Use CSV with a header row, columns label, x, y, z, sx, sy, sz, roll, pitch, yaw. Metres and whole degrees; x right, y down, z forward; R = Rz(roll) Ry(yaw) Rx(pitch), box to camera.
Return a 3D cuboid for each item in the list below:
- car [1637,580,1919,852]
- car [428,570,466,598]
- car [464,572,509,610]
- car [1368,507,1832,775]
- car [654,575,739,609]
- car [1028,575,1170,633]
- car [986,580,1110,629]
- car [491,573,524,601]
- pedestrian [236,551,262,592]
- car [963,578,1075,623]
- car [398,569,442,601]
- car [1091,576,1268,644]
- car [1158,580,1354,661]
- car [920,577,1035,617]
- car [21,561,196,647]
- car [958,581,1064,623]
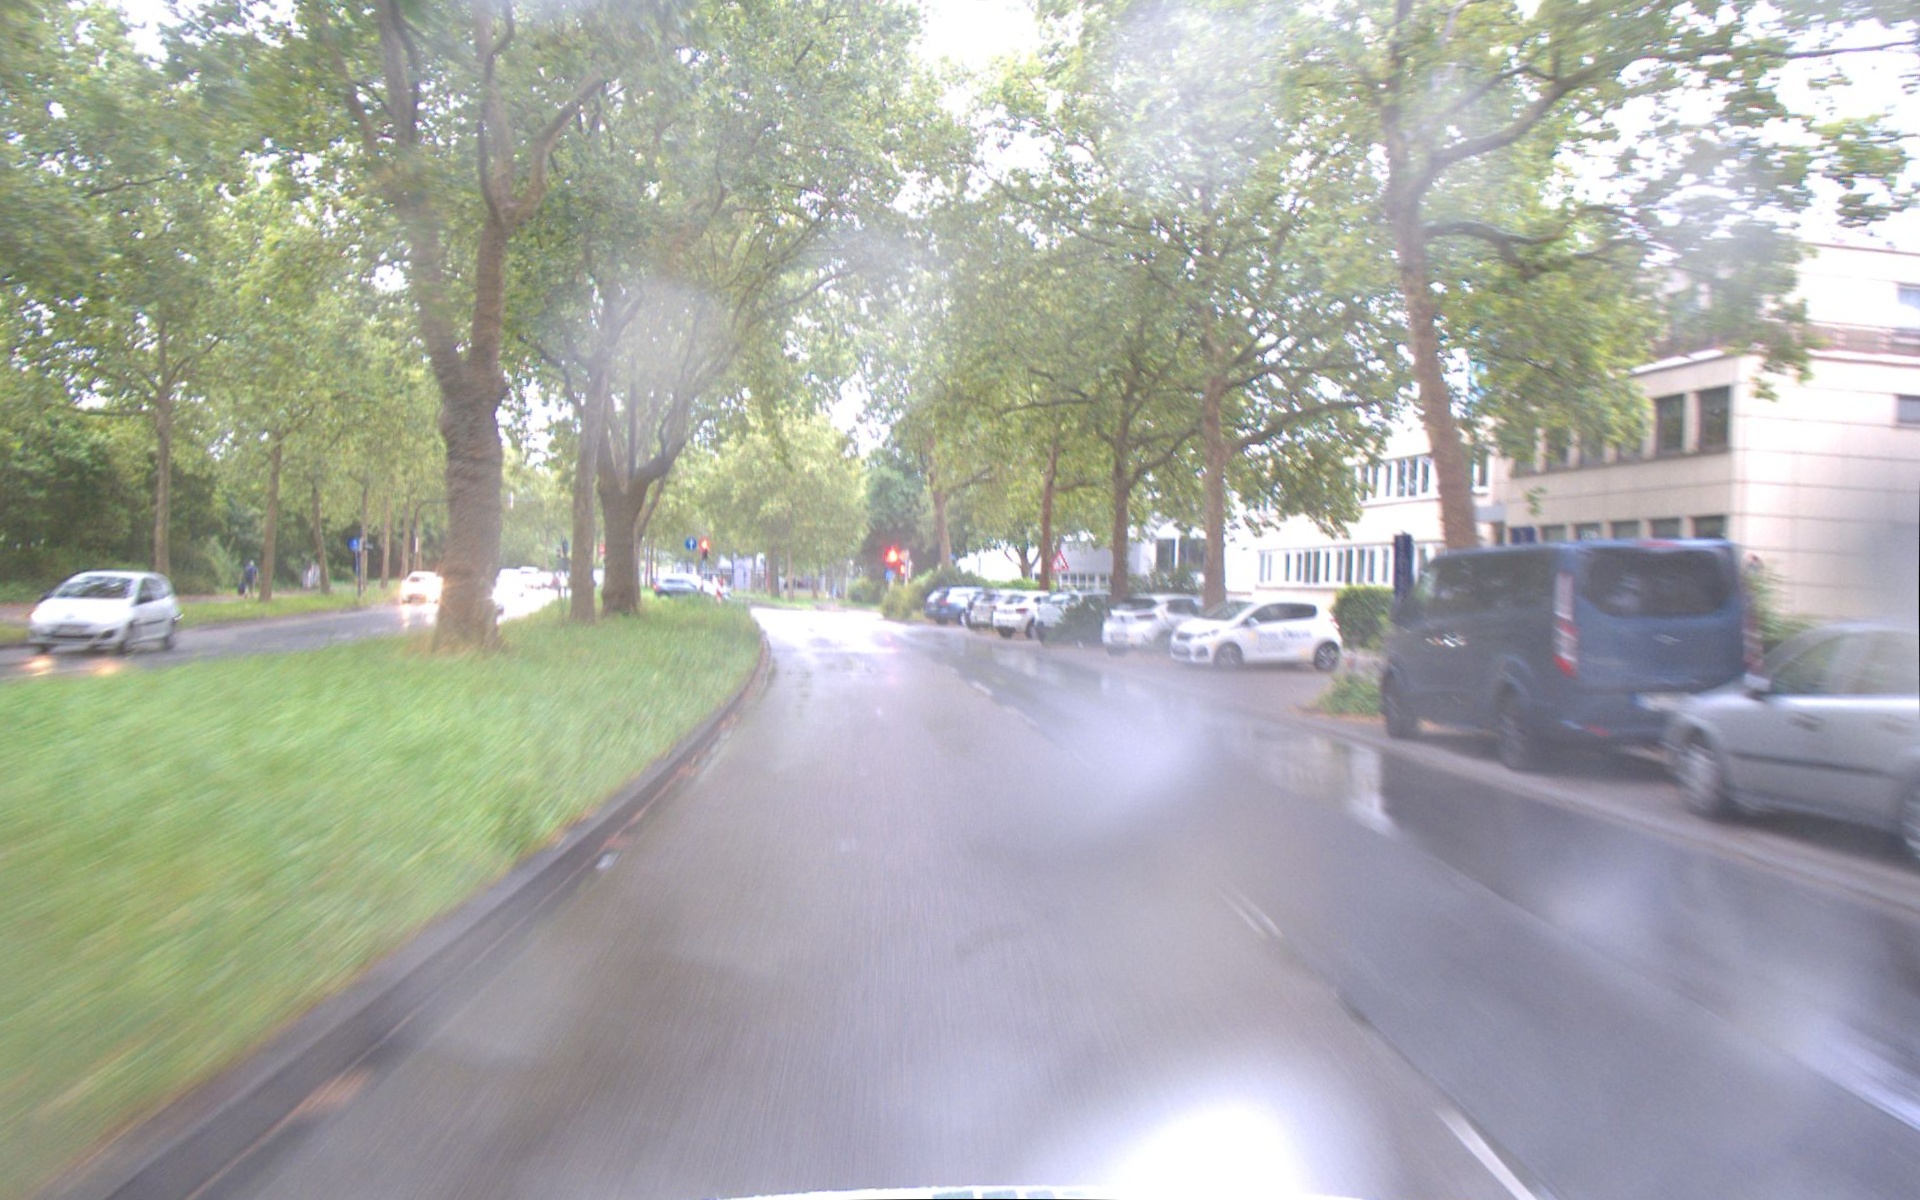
label,x,y,z,sx,sy,sz,roll,pitch,yaw
car,6.103,0.652,10.479,1.708,1.495,4.304,2,0,-2
car,-30.830,-0.975,99.422,1.712,1.619,4.198,2,0,-11
car,-20.158,-0.394,70.525,1.714,1.502,4.393,2,0,-15
car,5.737,0.305,15.808,2.079,2.063,5.525,2,0,-2
car,-14.337,-0.443,89.936,4.202,1.679,1.750,2,0,19
car,4.002,0.126,47.390,3.999,1.566,1.724,1,0,-40
car,2.808,0.146,52.468,3.648,1.441,1.728,1,0,-34
car,-27.238,-0.814,99.649,1.713,1.619,4.315,2,0,-13
pedestrian,-30.592,-1.227,71.147,0.816,1.703,0.897,1,0,-13
car,2.094,0.022,57.963,3.655,1.441,1.752,1,0,-38
car,-26.826,-0.756,82.233,1.714,1.502,4.068,2,0,-14
car,5.084,0.247,38.028,3.996,1.453,1.726,1,0,-38
car,6.042,0.415,33.821,3.583,1.530,1.738,1,2,-22
car,0.729,-0.108,66.923,4.442,1.484,1.728,1,0,-34
car,-16.085,0.059,31.459,1.710,1.485,3.836,2,0,-7
car,1.907,0.076,61.241,3.654,1.441,1.726,1,0,-38
